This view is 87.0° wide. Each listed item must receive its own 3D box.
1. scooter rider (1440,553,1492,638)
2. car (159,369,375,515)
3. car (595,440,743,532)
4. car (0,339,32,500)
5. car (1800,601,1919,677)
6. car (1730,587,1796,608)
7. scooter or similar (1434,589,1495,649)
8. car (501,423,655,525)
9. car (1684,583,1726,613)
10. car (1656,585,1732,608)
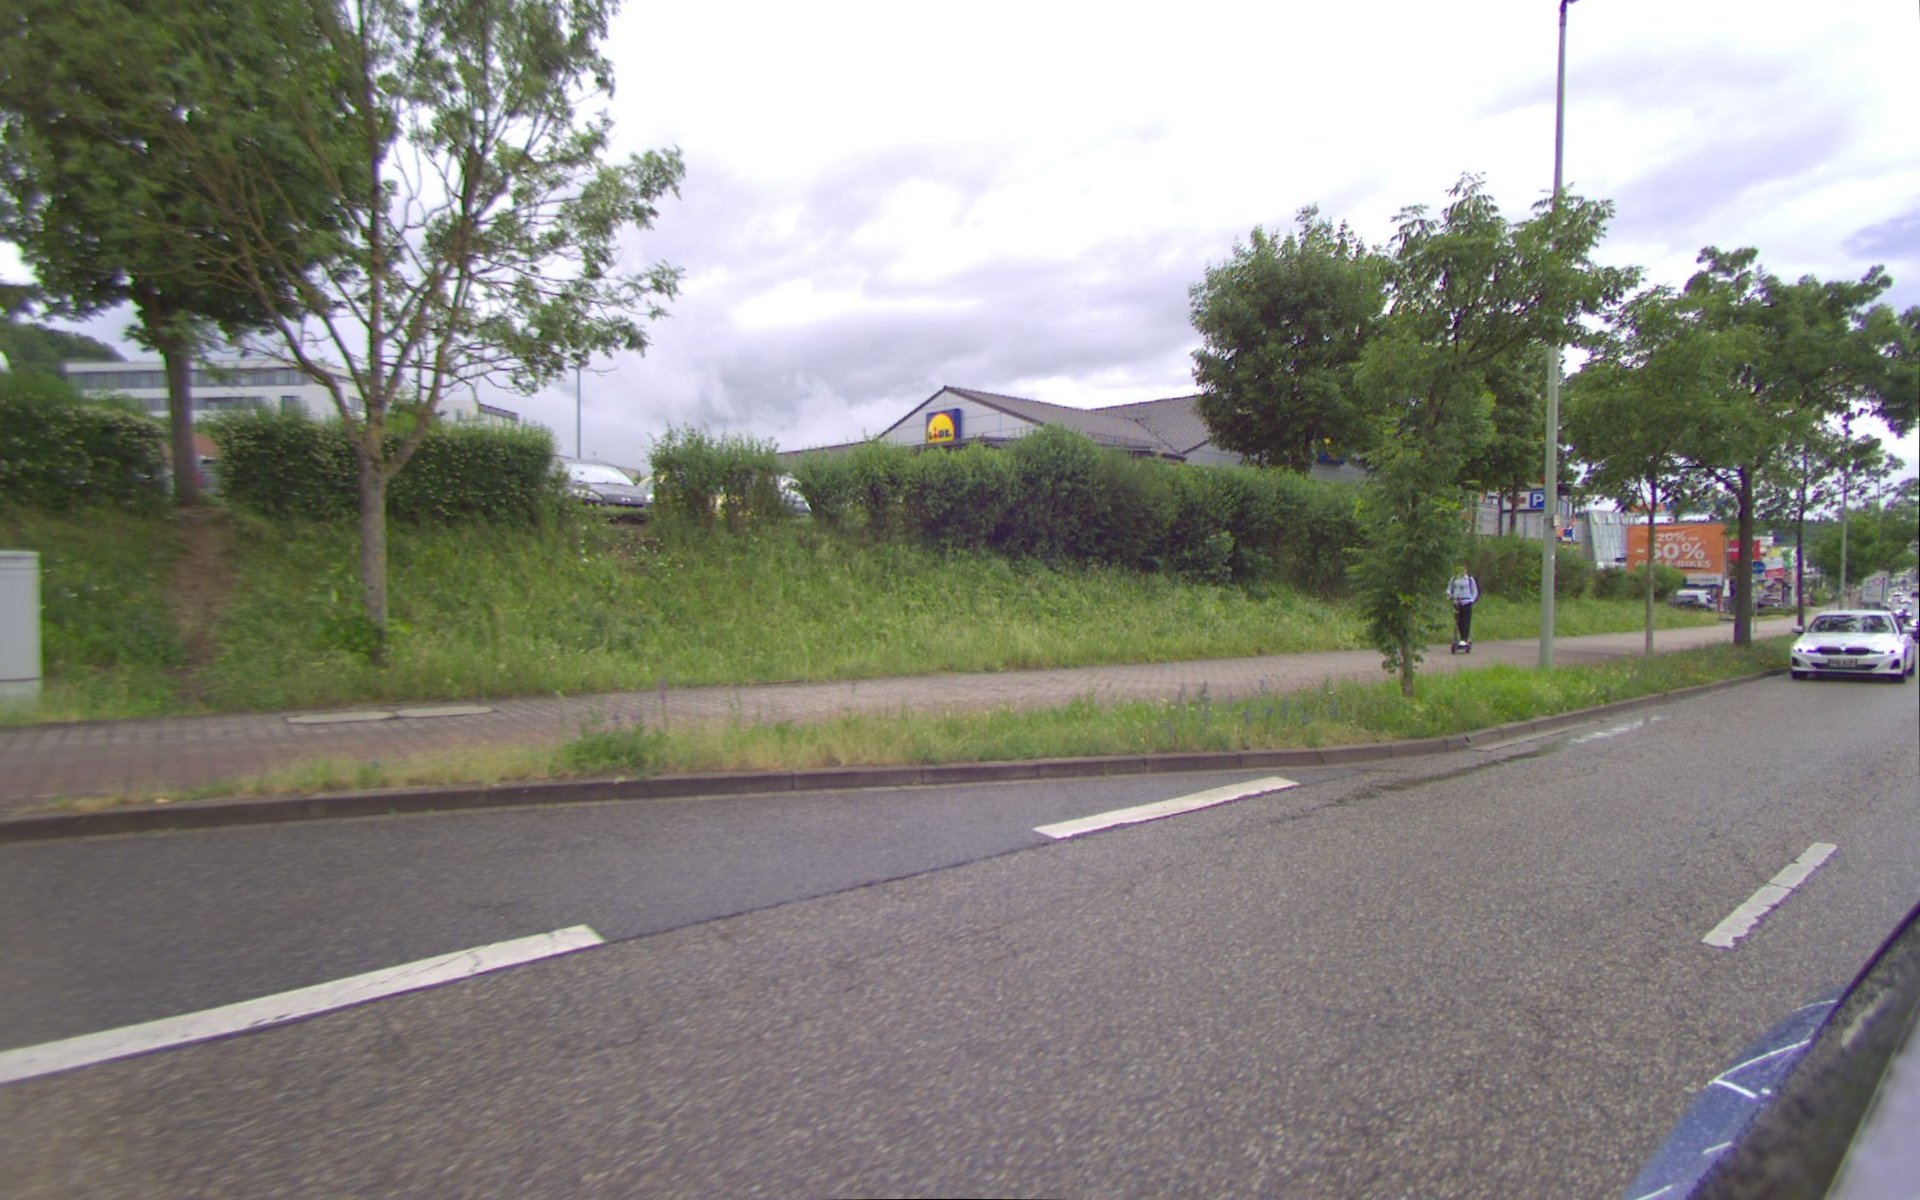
[{"bbox_3d":[11.364,-0.108,22.731,0.843,1.842,0.696,0,4,-41],"label":"scooter rider"},{"bbox_3d":[-12.777,-2.756,18.462,5.610,2.167,2.089,7,5,43],"label":"car"},{"bbox_3d":[-6.577,-2.508,22.573,1.830,1.756,4.001,0,5,-37],"label":"car"},{"bbox_3d":[-15.660,-2.699,15.234,5.610,2.167,2.089,7,5,43],"label":"car"},{"bbox_3d":[19.592,0.762,21.837,4.467,1.459,1.805,0,0,-44],"label":"car"},{"bbox_3d":[79.507,-0.256,100.270,1.890,1.620,4.673,1,4,-36],"label":"car"},{"bbox_3d":[11.354,0.406,22.765,1.376,1.279,0.696,-1,4,-41],"label":"scooter or similar"},{"bbox_3d":[-7.782,-2.481,20.392,1.830,1.756,4.001,0,5,-37],"label":"car"},{"bbox_3d":[65.820,-0.174,89.398,2.228,2.569,5.589,-1,0,45],"label":"car"},{"bbox_3d":[50.957,-0.243,70.344,4.071,1.457,1.777,2,-1,31],"label":"car"}]
